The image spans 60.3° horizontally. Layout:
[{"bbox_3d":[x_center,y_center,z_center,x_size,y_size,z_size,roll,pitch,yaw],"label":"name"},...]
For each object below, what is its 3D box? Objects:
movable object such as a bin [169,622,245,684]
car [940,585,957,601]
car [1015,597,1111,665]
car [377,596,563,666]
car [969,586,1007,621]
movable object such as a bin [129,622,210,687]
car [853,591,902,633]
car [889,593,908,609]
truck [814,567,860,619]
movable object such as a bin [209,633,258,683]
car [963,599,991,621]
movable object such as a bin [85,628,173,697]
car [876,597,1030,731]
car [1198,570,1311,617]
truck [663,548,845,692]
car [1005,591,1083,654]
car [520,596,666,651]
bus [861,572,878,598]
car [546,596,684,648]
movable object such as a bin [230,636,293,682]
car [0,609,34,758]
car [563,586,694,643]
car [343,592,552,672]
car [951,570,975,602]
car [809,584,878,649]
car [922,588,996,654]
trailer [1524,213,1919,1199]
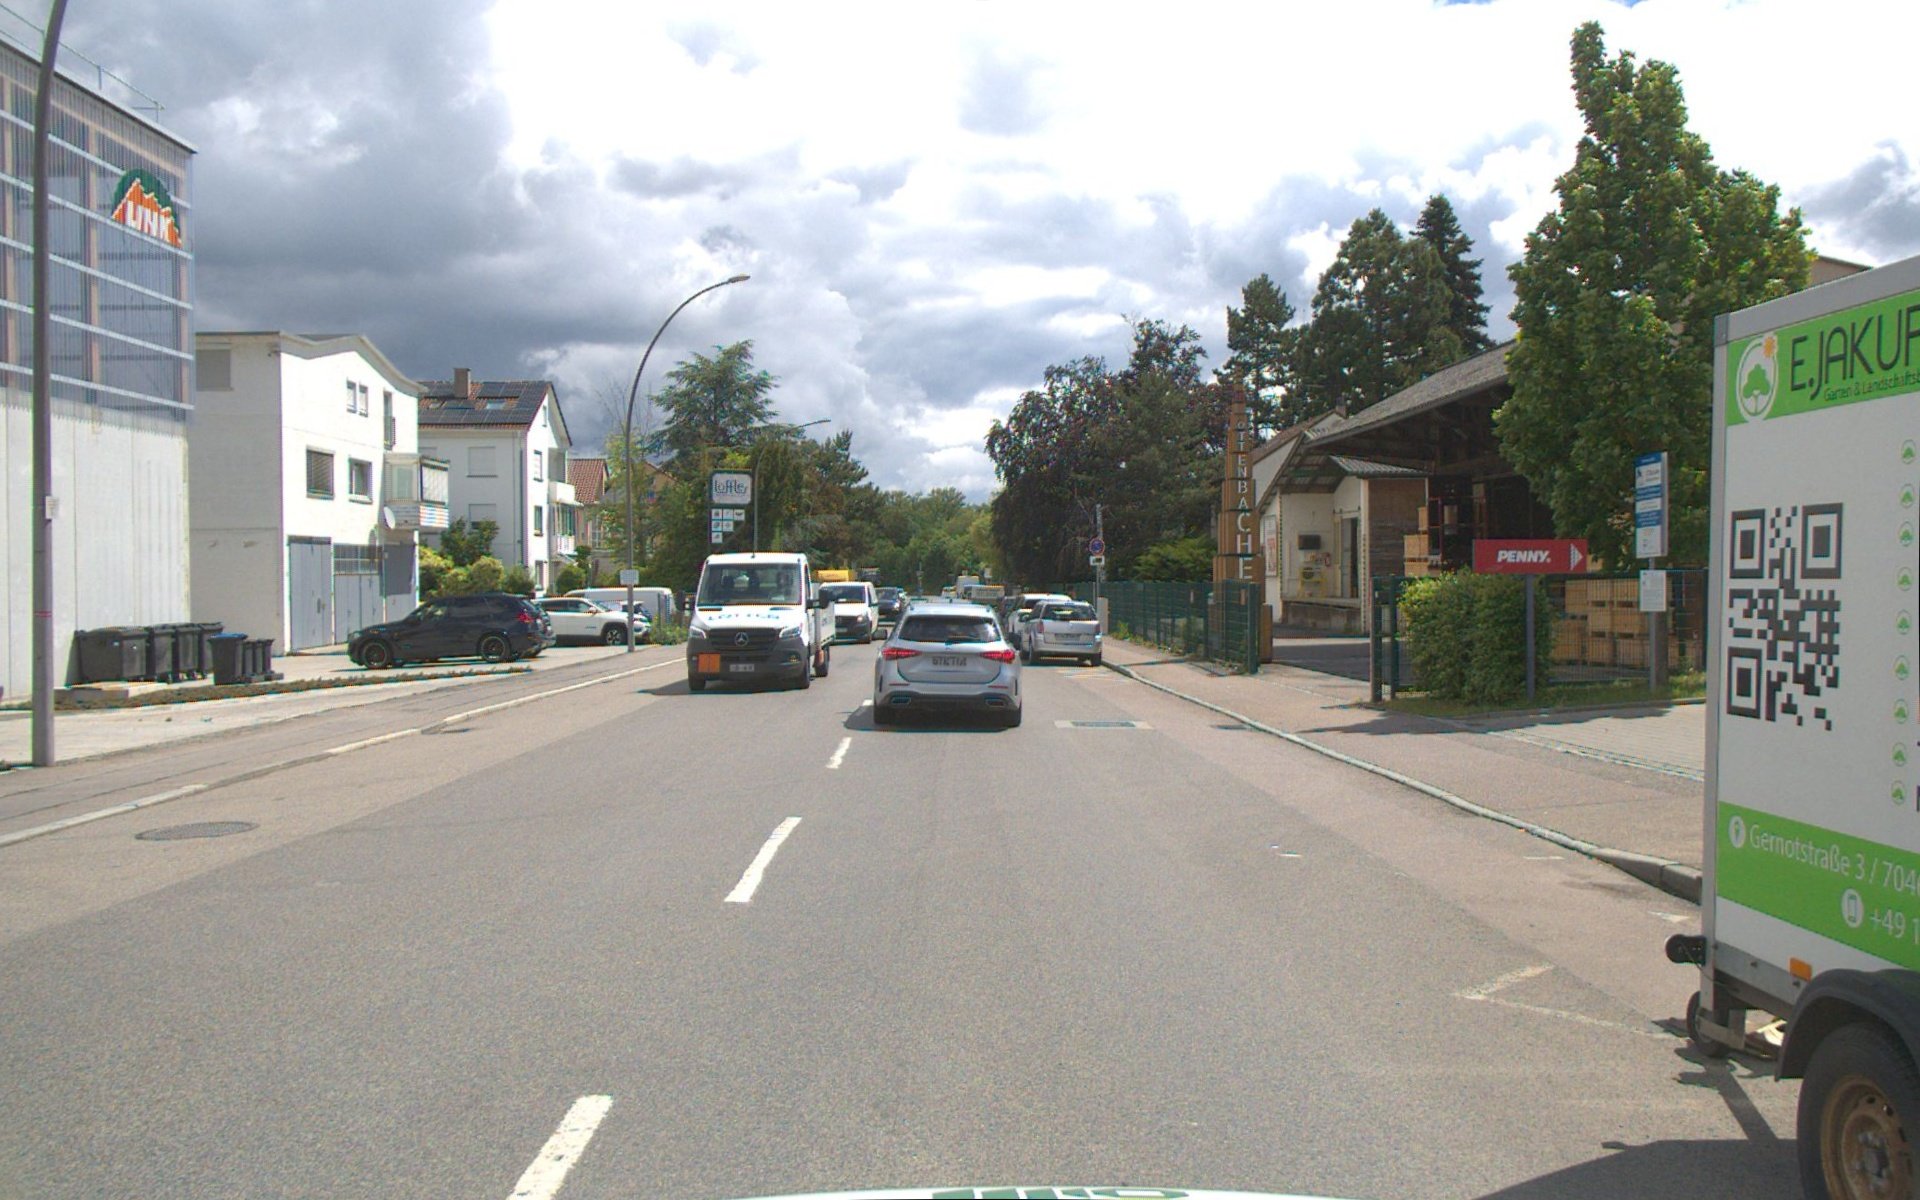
[{"bbox_3d":[-18.013,1.253,39.623,0.937,1.380,1.818,-1,0,1],"label":"movable object such as a bin"},{"bbox_3d":[-1.240,-0.739,174.307,1.720,1.585,3.999,0,1,-2],"label":"car"},{"bbox_3d":[2.416,0.696,39.704,1.756,1.475,4.360,-1,1,-3],"label":"car"},{"bbox_3d":[-12.978,0.809,43.994,4.374,1.531,1.824,-4,1,-5],"label":"car"},{"bbox_3d":[1.633,0.187,98.582,2.100,2.018,5.260,-1,0,-1],"label":"car"},{"bbox_3d":[-18.023,1.235,37.750,0.937,1.380,1.818,-1,0,1],"label":"movable object such as a bin"},{"bbox_3d":[-3.704,0.515,74.870,1.952,1.763,4.548,-1,1,0],"label":"car"},{"bbox_3d":[-6.199,0.115,167.002,1.895,1.518,4.362,-1,1,-1],"label":"car"},{"bbox_3d":[-7.149,-0.446,96.798,2.032,2.863,7.078,-1,1,0],"label":"truck"},{"bbox_3d":[-15.755,1.250,35.885,0.728,1.048,0.712,-1,0,0],"label":"movable object such as a bin"},{"bbox_3d":[1.217,0.719,118.626,1.749,1.510,4.314,1,0,-3],"label":"car"},{"bbox_3d":[-18.001,1.334,35.881,0.937,1.380,1.818,2,0,1],"label":"movable object such as a bin"},{"bbox_3d":[-0.182,0.747,21.102,1.749,1.510,4.314,1,0,-3],"label":"car"},{"bbox_3d":[13.642,-0.314,76.886,4.913,1.963,2.001,-2,0,2],"label":"car"},{"bbox_3d":[-3.470,0.281,29.310,2.271,2.216,6.450,-1,0,1],"label":"truck"},{"bbox_3d":[2.239,0.578,45.193,1.755,1.579,4.572,-1,1,-2],"label":"car"},{"bbox_3d":[-11.580,0.763,52.366,4.192,1.594,1.990,-1,-3,-1],"label":"car"},{"bbox_3d":[-12.214,-1.995,222.885,1.955,3.423,6.973,2,0,-6],"label":"bus"},{"bbox_3d":[-11.465,0.756,55.158,4.193,1.594,1.990,-1,-3,-2],"label":"car"},{"bbox_3d":[-15.610,1.303,37.004,0.728,0.935,1.519,-1,0,1],"label":"movable object such as a bin"},{"bbox_3d":[-11.888,0.803,16.602,4.068,1.518,1.824,2,0,-5],"label":"car"},{"bbox_3d":[-11.515,0.515,57.697,4.193,1.868,1.990,-1,-3,-2],"label":"car"},{"bbox_3d":[-12.792,0.775,41.516,4.536,1.661,2.196,-4,1,-5],"label":"car"},{"bbox_3d":[0.251,-1.143,135.823,1.749,2.562,4.314,1,0,-3],"label":"car"},{"bbox_3d":[-3.628,0.460,52.226,1.953,1.921,5.115,-1,1,-2],"label":"car"},{"bbox_3d":[-0.064,0.492,41.768,1.720,1.585,3.999,0,1,-2],"label":"car"},{"bbox_3d":[3.137,0.274,3.939,1.902,2.334,4.443,-1,0,-2],"label":"trailer"}]
